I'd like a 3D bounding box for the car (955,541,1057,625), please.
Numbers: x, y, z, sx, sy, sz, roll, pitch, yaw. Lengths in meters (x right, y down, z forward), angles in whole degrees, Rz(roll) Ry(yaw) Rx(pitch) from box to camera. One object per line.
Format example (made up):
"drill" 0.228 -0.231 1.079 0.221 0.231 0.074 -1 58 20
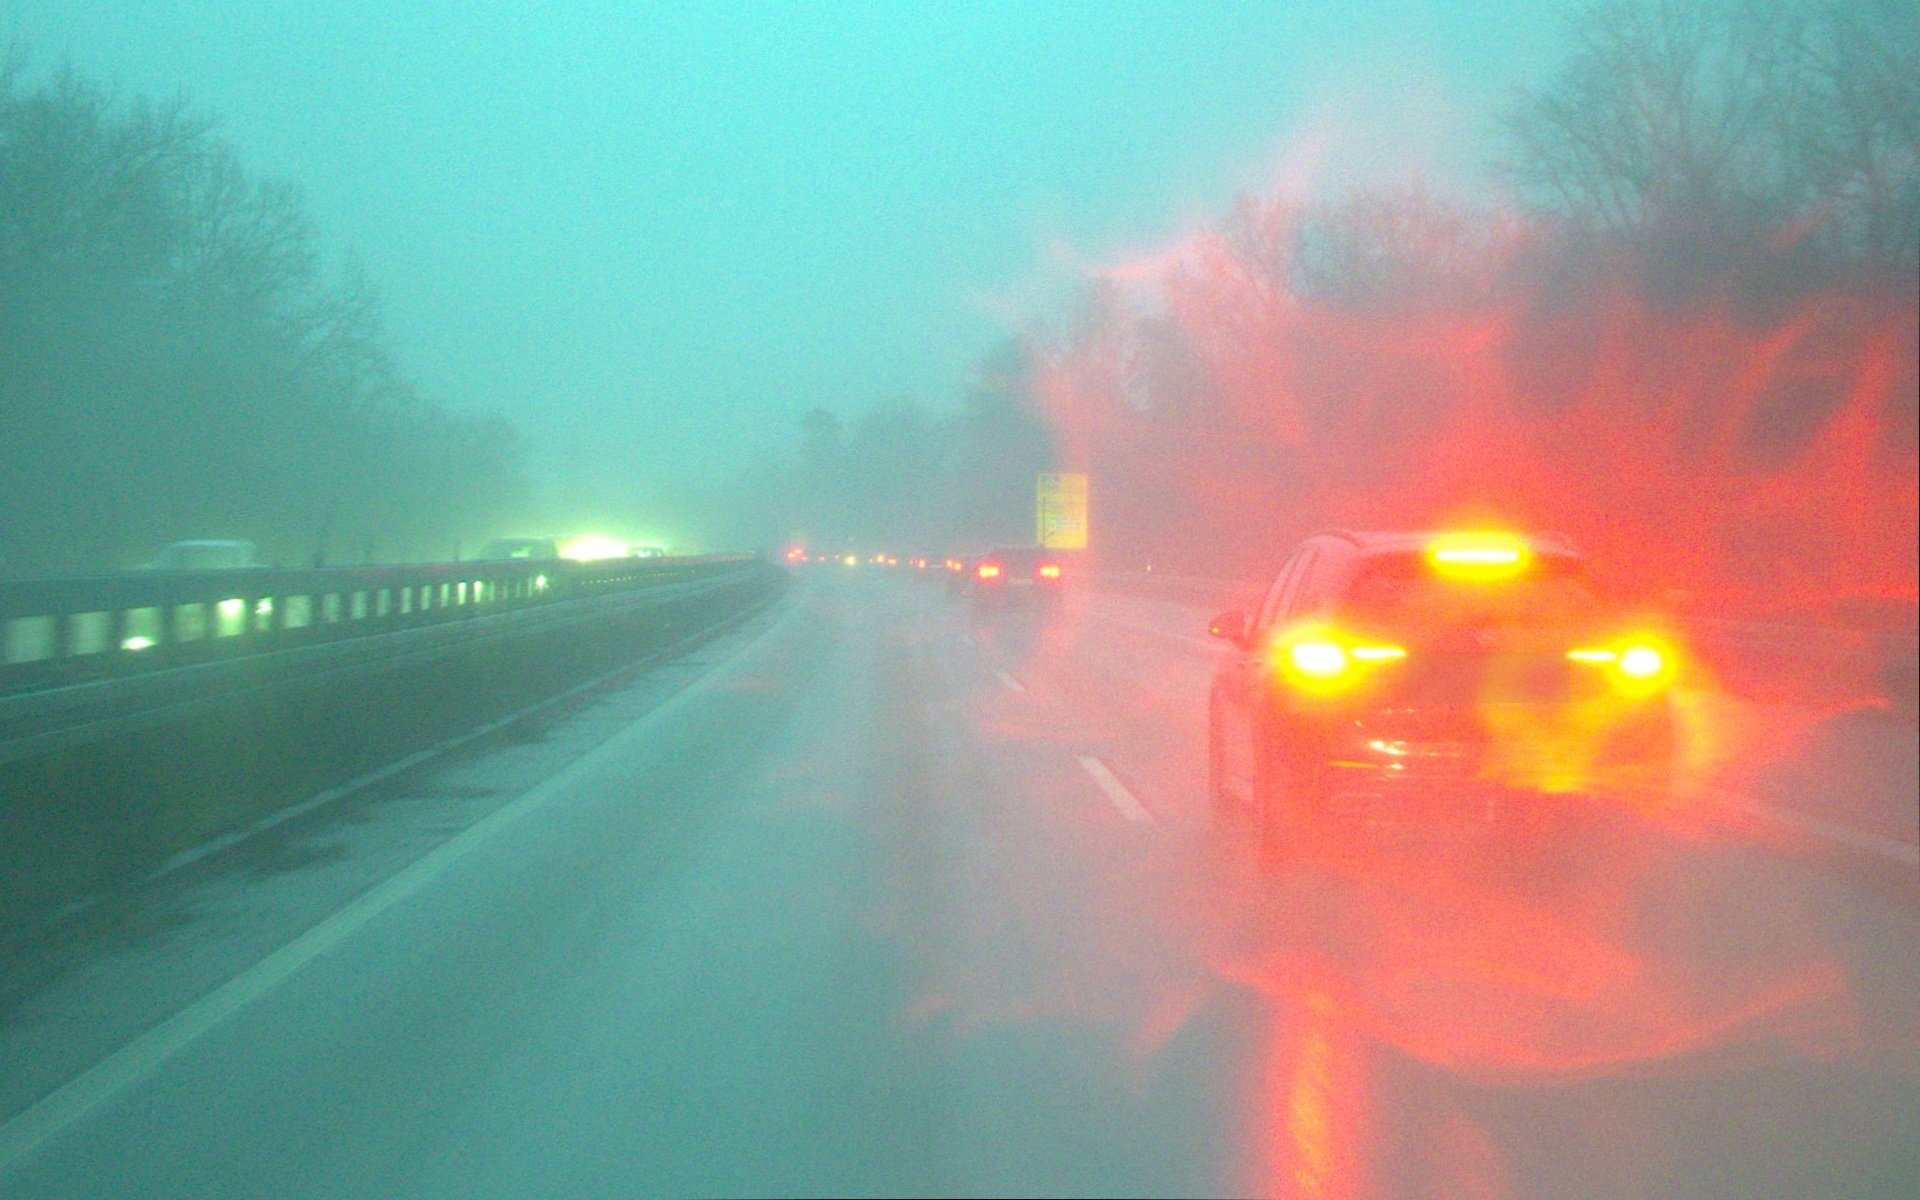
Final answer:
"car" 0.955 -0.358 73.066 1.992 1.709 3.830 1 0 -1

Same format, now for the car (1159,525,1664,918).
"car" 2.186 0.546 17.732 1.924 1.785 3.941 1 0 -2
